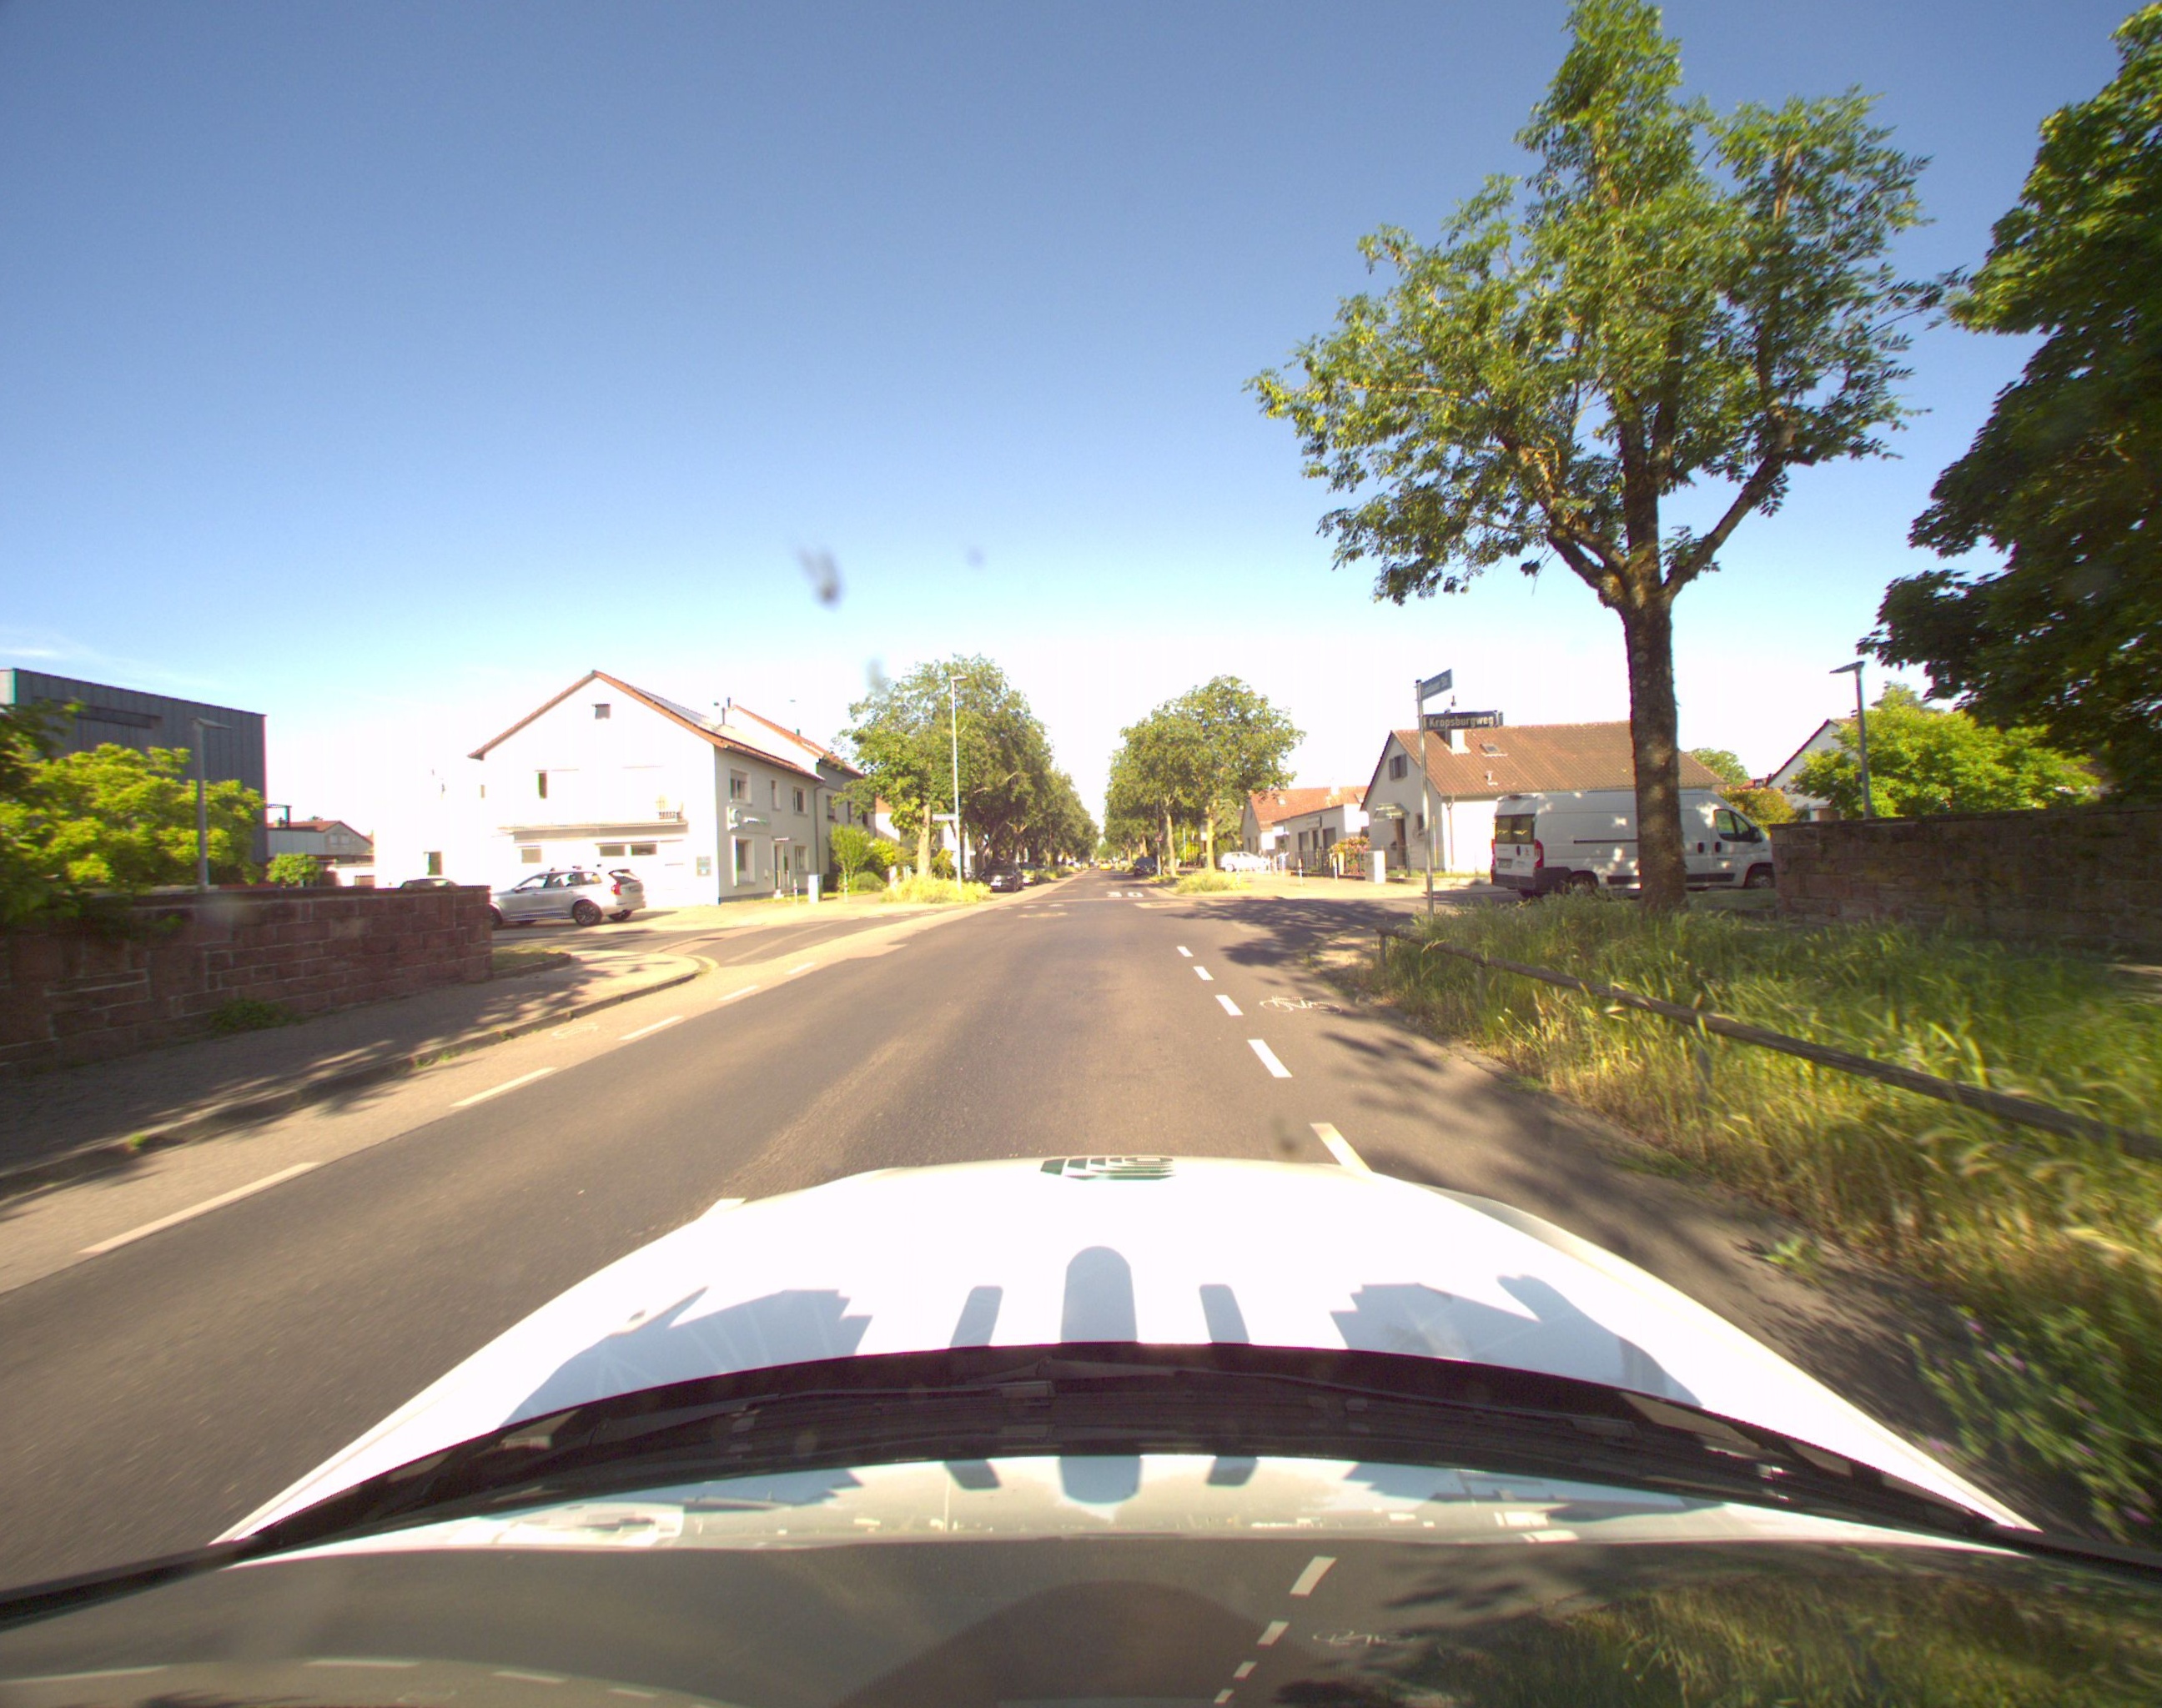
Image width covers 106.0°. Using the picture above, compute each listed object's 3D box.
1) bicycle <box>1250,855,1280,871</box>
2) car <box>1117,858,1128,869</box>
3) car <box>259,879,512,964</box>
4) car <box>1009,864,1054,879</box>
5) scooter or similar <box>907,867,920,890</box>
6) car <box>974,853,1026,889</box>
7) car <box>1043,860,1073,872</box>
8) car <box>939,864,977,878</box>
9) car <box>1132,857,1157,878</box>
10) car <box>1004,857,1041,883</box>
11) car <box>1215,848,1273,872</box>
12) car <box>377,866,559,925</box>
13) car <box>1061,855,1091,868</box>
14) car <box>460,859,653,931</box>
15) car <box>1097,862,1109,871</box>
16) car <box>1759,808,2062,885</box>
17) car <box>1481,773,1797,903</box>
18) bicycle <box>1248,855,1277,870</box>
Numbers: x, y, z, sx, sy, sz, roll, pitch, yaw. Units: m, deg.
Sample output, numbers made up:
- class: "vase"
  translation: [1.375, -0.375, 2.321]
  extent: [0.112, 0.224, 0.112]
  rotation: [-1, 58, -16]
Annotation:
- class: "bicycle"
  translation: [13.146, 0.644, 58.222]
  extent: [1.952, 0.998, 0.576]
  rotation: [-4, 1, -1]
- class: "car"
  translation: [7.258, 1.708, 142.788]
  extent: [1.895, 1.774, 4.303]
  rotation: [-1, -1, 2]
- class: "car"
  translation: [-14.916, 1.411, 17.648]
  extent: [3.755, 1.479, 1.870]
  rotation: [-3, 1, -1]
- class: "car"
  translation: [-5.249, 1.877, 86.501]
  extent: [4.538, 1.511, 1.842]
  rotation: [-1, 1, 1]
- class: "scooter or similar"
  translation: [-7.446, 1.094, 36.258]
  extent: [0.334, 1.001, 0.997]
  rotation: [-3, -1, -2]
- class: "car"
  translation: [-4.124, 0.912, 42.189]
  extent: [1.946, 1.727, 4.877]
  rotation: [-1, -2, 3]
- class: "car"
  translation: [-3.507, 1.820, 124.115]
  extent: [4.536, 1.765, 1.998]
  rotation: [-1, 1, -4]
- class: "car"
  translation: [-15.535, 2.153, 103.229]
  extent: [4.543, 1.618, 1.998]
  rotation: [-1, 1, -3]
- class: "car"
  translation: [5.389, 1.152, 69.707]
  extent: [1.846, 1.626, 4.470]
  rotation: [-4, -1, 1]
- class: "car"
  translation: [-3.854, 1.077, 54.106]
  extent: [1.931, 1.609, 4.386]
  rotation: [-1, -2, 3]
- class: "car"
  translation: [12.228, 0.439, 61.256]
  extent: [3.974, 1.488, 1.902]
  rotation: [-4, 1, 0]
- class: "car"
  translation: [-20.950, 1.380, 28.012]
  extent: [4.493, 1.555, 1.997]
  rotation: [-4, 1, -5]
- class: "car"
  translation: [-0.876, 1.353, 152.024]
  extent: [5.481, 2.247, 2.516]
  rotation: [-1, 1, -1]
- class: "car"
  translation: [-16.014, 1.227, 25.061]
  extent: [4.477, 1.837, 1.999]
  rotation: [-2, 2, -2]
- class: "car"
  translation: [3.515, 2.035, 130.186]
  extent: [1.882, 1.479, 3.887]
  rotation: [0, -1, 0]
- class: "car"
  translation: [18.764, -0.177, 18.607]
  extent: [4.728, 1.581, 2.284]
  rotation: [-1, 1, -2]
- class: "car"
  translation: [12.451, -0.349, 18.477]
  extent: [5.578, 2.539, 2.265]
  rotation: [-2, 0, -1]
- class: "bicycle"
  translation: [13.195, 0.628, 59.210]
  extent: [1.917, 0.998, 0.576]
  rotation: [-4, 1, -1]
